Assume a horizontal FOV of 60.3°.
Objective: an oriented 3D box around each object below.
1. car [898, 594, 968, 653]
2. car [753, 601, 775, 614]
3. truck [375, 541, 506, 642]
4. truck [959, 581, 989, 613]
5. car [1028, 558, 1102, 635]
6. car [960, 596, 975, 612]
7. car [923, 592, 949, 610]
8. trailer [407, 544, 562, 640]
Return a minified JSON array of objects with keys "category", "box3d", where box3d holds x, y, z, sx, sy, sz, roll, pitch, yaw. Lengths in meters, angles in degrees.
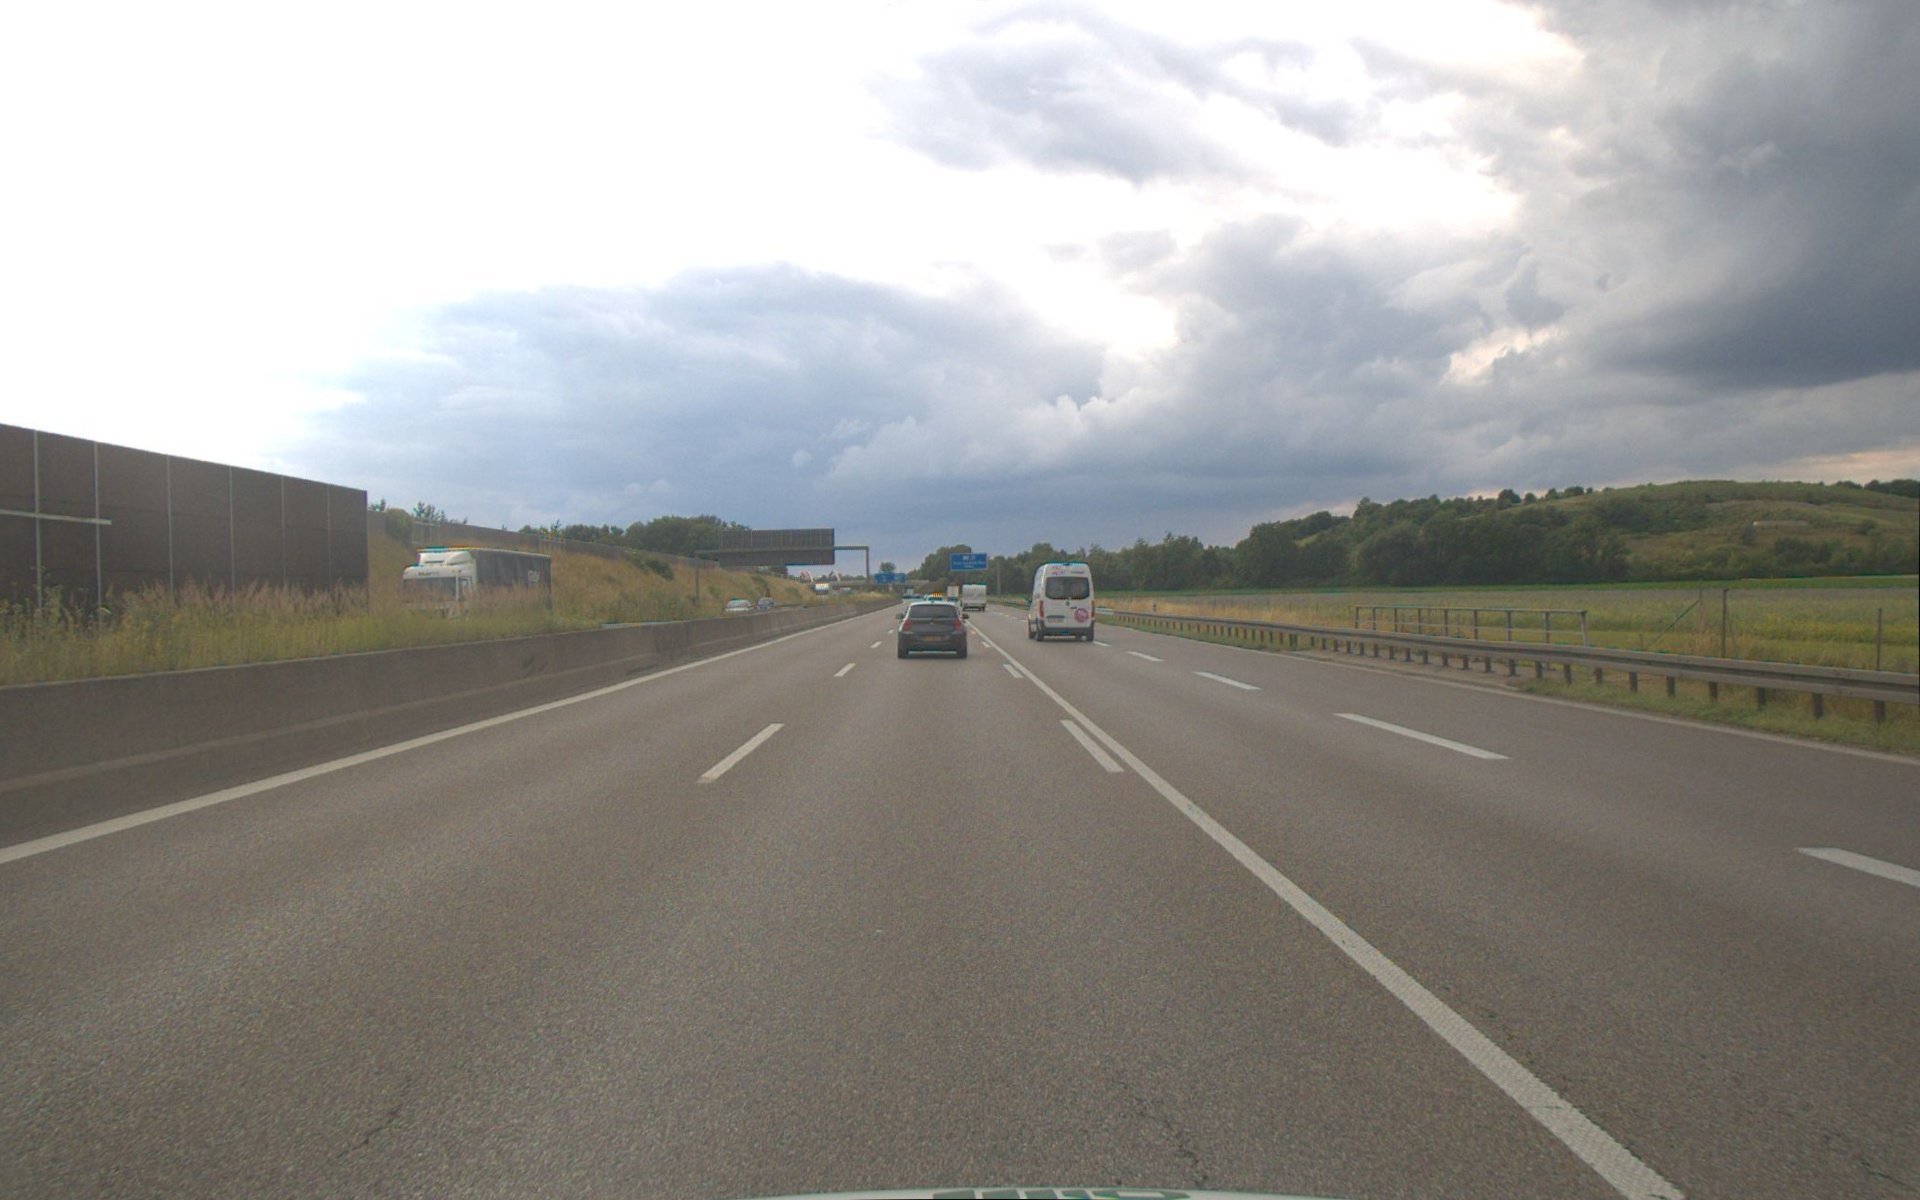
[{"category":"car","box3d":[-0.691,0.572,42.346,1.708,1.413,3.999,0,0,-1]},{"category":"car","box3d":[-22.386,0.819,188.779,1.953,1.388,4.939,1,0,-1]},{"category":"truck","box3d":[-21.689,-0.346,69.458,3.593,4.017,6.012,1,0,-1]},{"category":"truck","box3d":[1.317,-0.333,165.588,2.655,3.016,12.444,1,0,-1]},{"category":"car","box3d":[3.703,-0.133,59.289,2.176,2.613,6.255,0,0,-1]},{"category":"car","box3d":[0.991,0.560,221.716,1.953,2.049,3.999,-1,0,-1]},{"category":"car","box3d":[-1.913,0.094,129.621,1.953,1.321,3.999,-1,0,-1]},{"category":"trailer","box3d":[-21.762,-0.365,76.794,3.597,4.050,12.676,1,0,-1]}]
